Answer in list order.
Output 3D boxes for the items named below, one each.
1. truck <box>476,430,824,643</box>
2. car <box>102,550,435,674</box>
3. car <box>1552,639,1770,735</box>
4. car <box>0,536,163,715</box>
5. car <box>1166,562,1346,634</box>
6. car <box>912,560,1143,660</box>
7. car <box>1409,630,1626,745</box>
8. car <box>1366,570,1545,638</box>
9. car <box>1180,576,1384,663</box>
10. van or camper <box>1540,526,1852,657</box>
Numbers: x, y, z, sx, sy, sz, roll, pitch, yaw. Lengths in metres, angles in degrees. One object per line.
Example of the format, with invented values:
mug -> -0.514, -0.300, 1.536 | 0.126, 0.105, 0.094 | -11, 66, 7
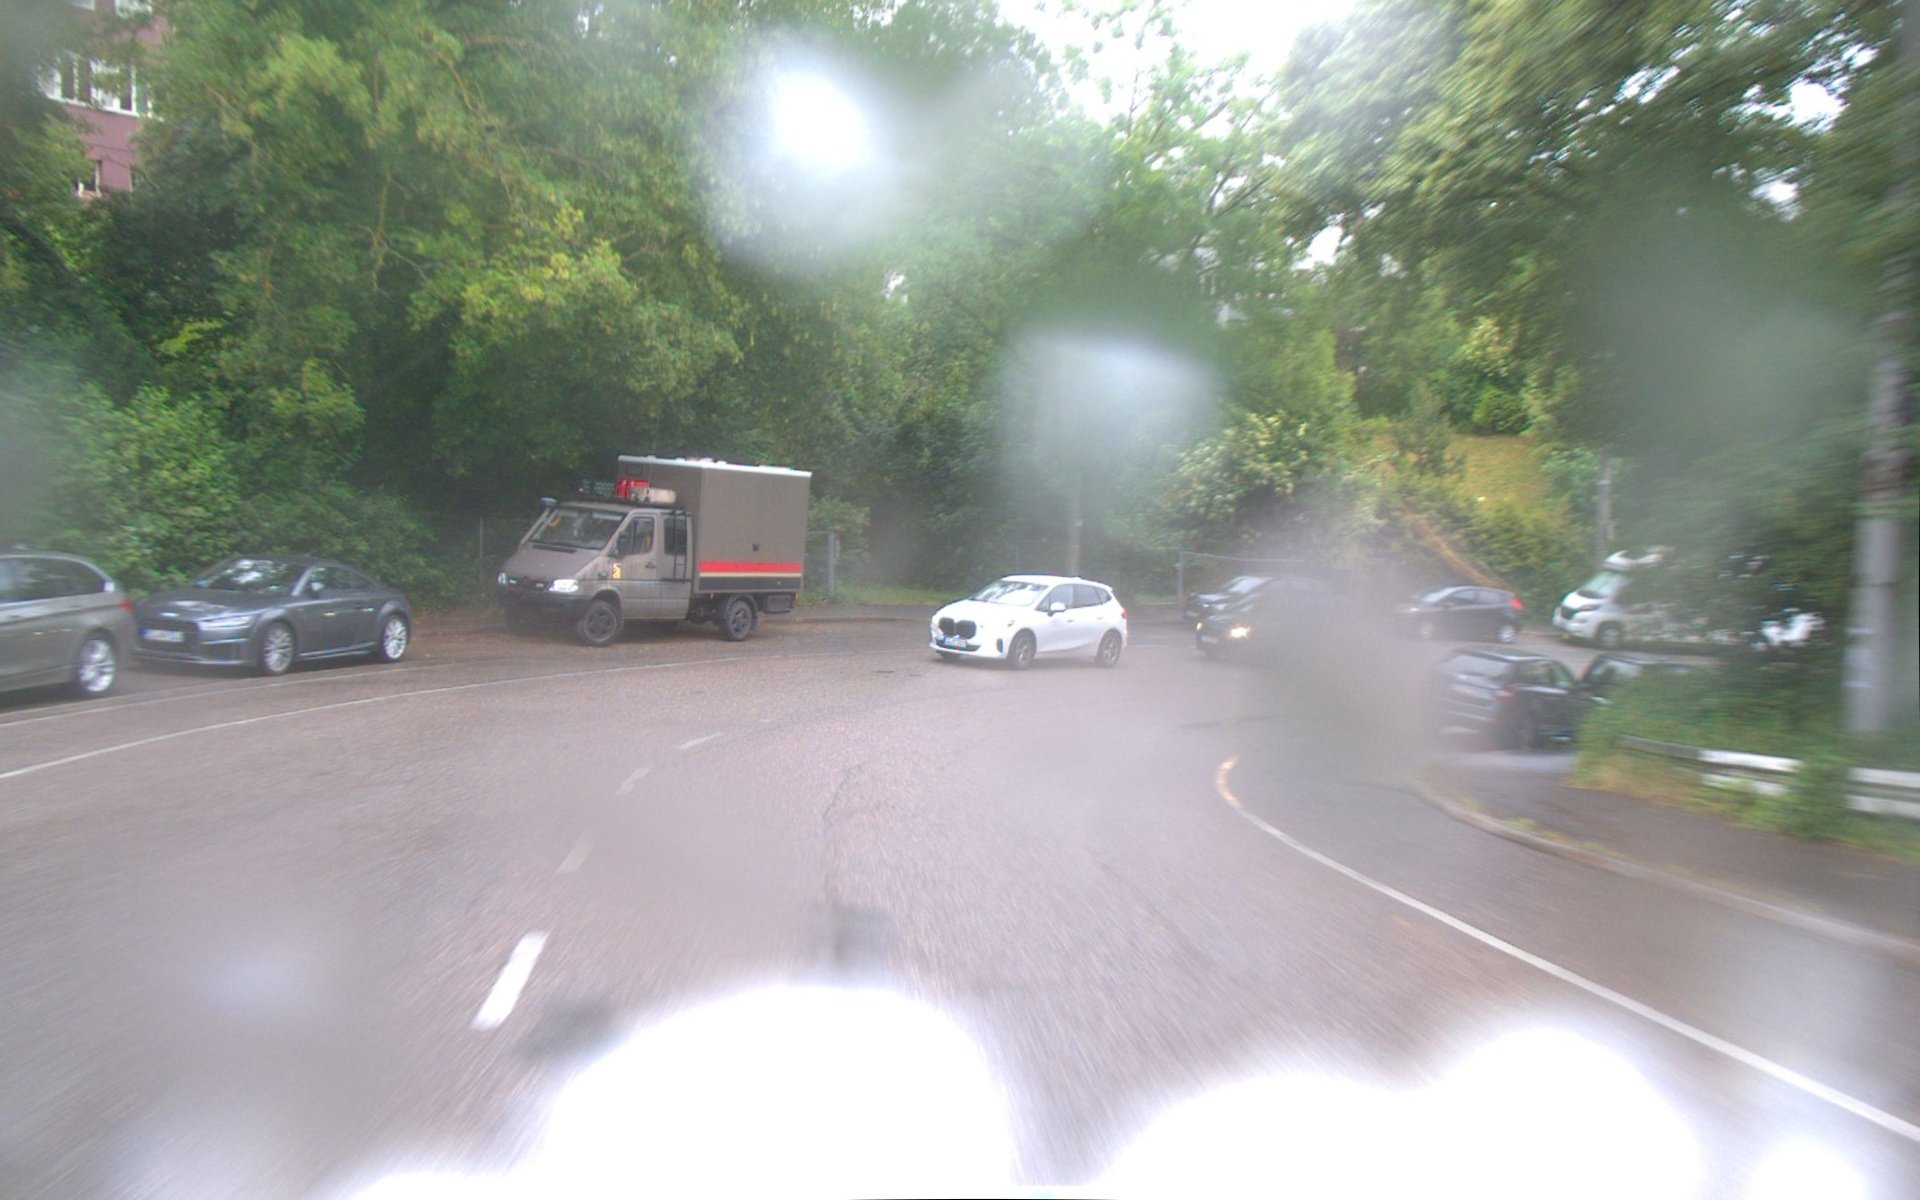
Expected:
truck -> -5.116, -1.009, 28.602 | 1.996, 3.155, 6.603 | 6, 3, 28
car -> -8.416, 0.069, 20.592 | 1.663, 1.297, 4.251 | 3, 2, 12
car -> 12.717, 1.574, 29.978 | 3.678, 1.431, 1.675 | 3, 5, -31
car -> -9.317, 0.211, 14.975 | 1.664, 1.524, 4.533 | 3, 2, 5
car -> 7.559, -0.050, 42.124 | 4.249, 1.489, 1.770 | 2, 6, -28
car -> 1.302, 0.207, 30.116 | 1.773, 1.597, 4.430 | 5, 2, 41
car -> 8.962, 1.365, 26.414 | 1.628, 1.489, 4.005 | 10, 5, 43
car -> 13.359, 0.099, 44.671 | 4.225, 1.378, 1.755 | 4, 6, -13
car -> 6.859, 0.423, 35.146 | 4.029, 1.544, 1.749 | 3, 3, -30
van or camper -> 20.240, -0.275, 45.674 | 7.485, 2.981, 2.202 | 3, 6, -3
